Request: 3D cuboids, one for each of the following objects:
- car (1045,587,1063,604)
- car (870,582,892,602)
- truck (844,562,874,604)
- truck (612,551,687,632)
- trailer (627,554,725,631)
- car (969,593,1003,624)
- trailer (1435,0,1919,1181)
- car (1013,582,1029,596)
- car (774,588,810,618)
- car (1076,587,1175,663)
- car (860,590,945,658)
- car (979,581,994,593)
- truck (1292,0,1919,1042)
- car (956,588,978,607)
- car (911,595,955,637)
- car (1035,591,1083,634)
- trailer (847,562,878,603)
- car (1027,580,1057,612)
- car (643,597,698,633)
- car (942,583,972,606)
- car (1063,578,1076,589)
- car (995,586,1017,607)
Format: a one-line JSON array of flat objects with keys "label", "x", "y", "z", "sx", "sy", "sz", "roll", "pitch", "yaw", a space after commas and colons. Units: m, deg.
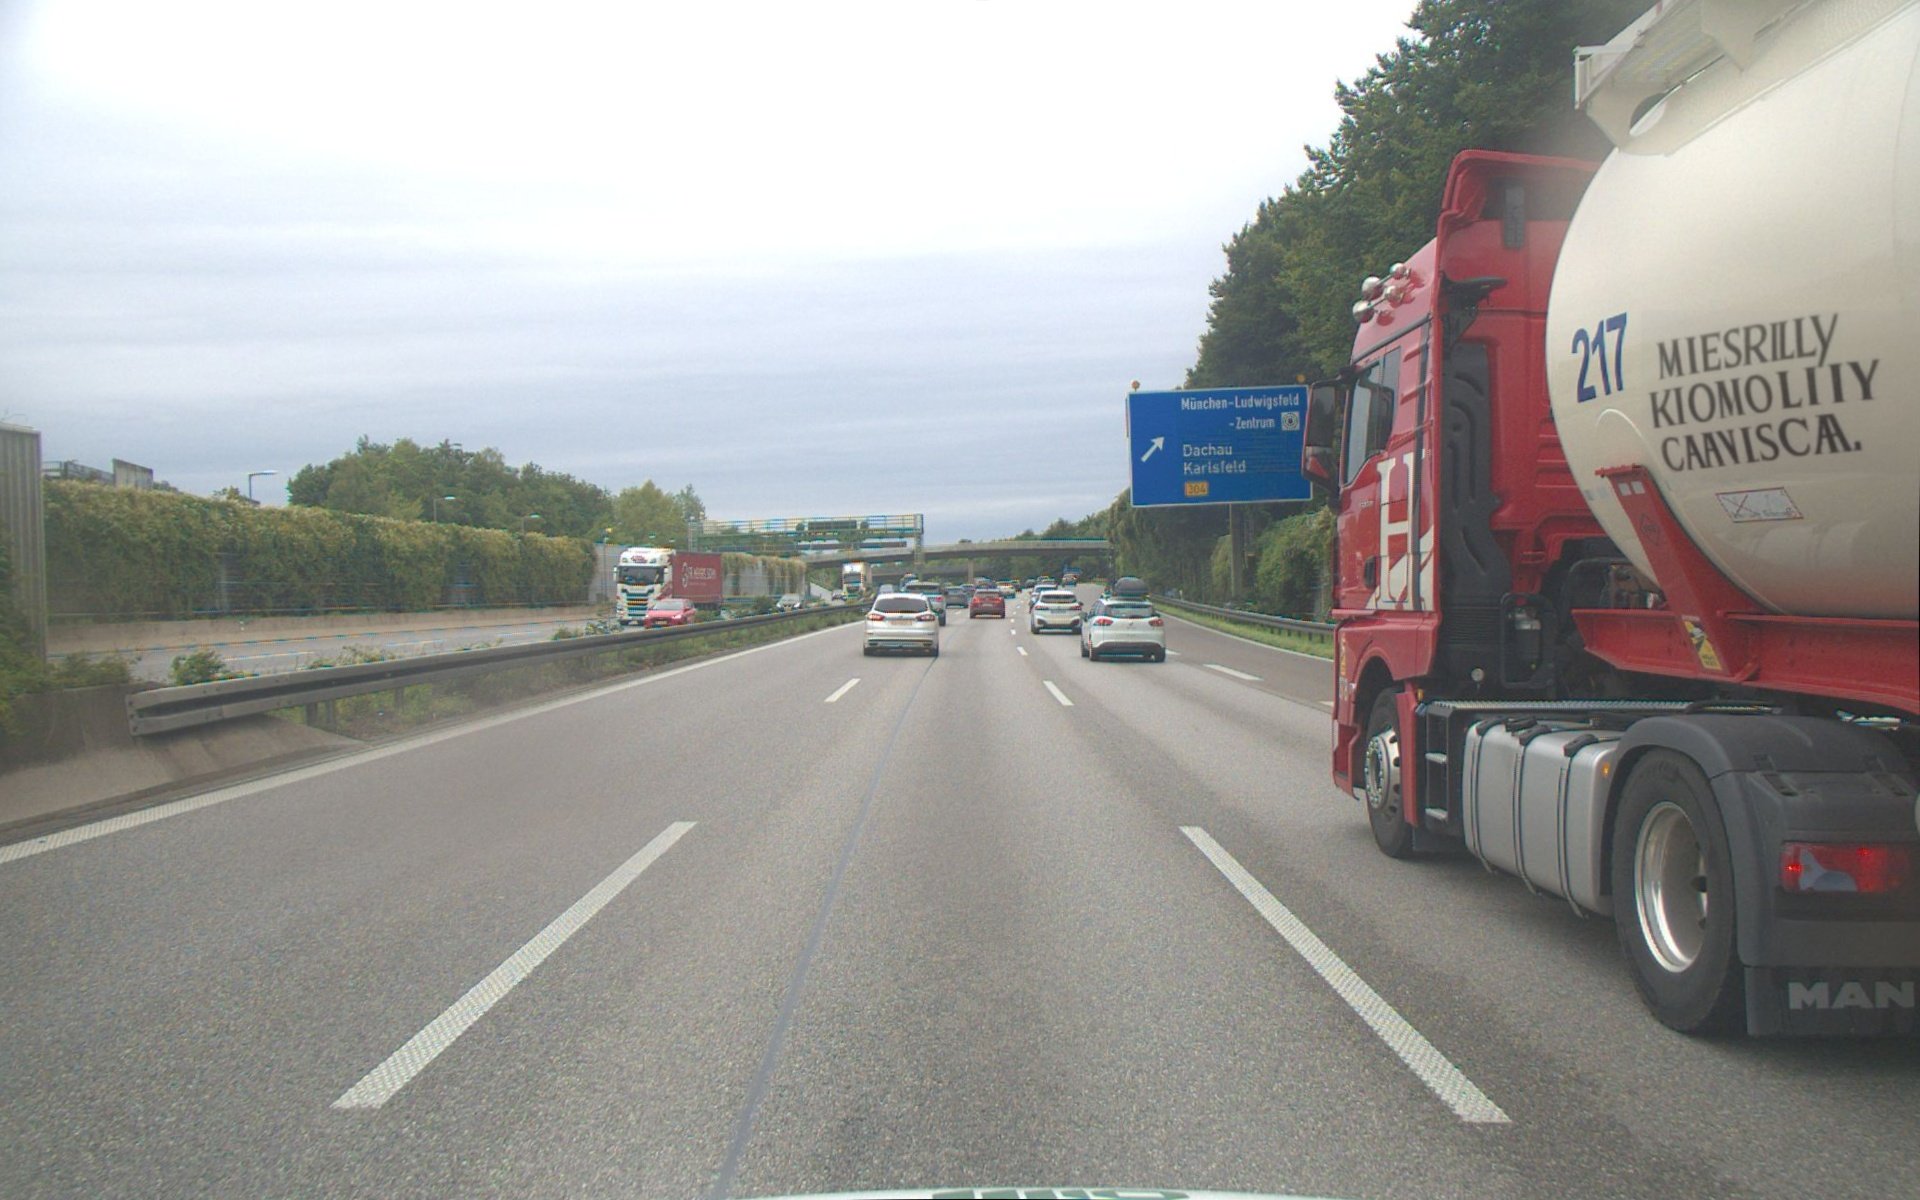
[{"label": "car", "x": 9.017, "y": -0.447, "z": 159.190, "sx": 1.653, "sy": 1.566, "sz": 3.873, "roll": 0, "pitch": 0, "yaw": 4}, {"label": "car", "x": -8.544, "y": -0.872, "z": 178.494, "sx": 1.952, "sy": 2.049, "sz": 4.910, "roll": 0, "pitch": 0, "yaw": 2}, {"label": "truck", "x": -11.080, "y": -1.884, "z": 182.042, "sx": 2.593, "sy": 4.551, "sz": 5.285, "roll": -1, "pitch": 0, "yaw": 3}, {"label": "truck", "x": -16.713, "y": -0.465, "z": 89.329, "sx": 2.612, "sy": 4.200, "sz": 5.918, "roll": -1, "pitch": 0, "yaw": 3}, {"label": "trailer", "x": -16.376, "y": -0.445, "z": 96.494, "sx": 2.687, "sy": 4.200, "sz": 13.694, "roll": 0, "pitch": 0, "yaw": 3}, {"label": "car", "x": 1.339, "y": 0.392, "z": 83.855, "sx": 1.654, "sy": 1.533, "sz": 3.872, "roll": 0, "pitch": 0, "yaw": 2}, {"label": "trailer", "x": 3.886, "y": -0.471, "z": 1.970, "sx": 2.614, "sy": 4.008, "sz": 13.126, "roll": 0, "pitch": 0, "yaw": -1}, {"label": "car", "x": 6.889, "y": -1.193, "z": 185.944, "sx": 1.653, "sy": 1.566, "sz": 3.873, "roll": 0, "pitch": 0, "yaw": 4}, {"label": "car", "x": -11.310, "y": 0.183, "z": 111.401, "sx": 1.953, "sy": 1.768, "sz": 4.001, "roll": 2, "pitch": 3, "yaw": 0}, {"label": "car", "x": 3.794, "y": 0.551, "z": 38.638, "sx": 1.779, "sy": 1.654, "sz": 5.029, "roll": 0, "pitch": 0, "yaw": 0}, {"label": "car", "x": -1.348, "y": 0.566, "z": 40.539, "sx": 1.853, "sy": 1.530, "sz": 5.030, "roll": 1, "pitch": 0, "yaw": 0}, {"label": "car", "x": 3.027, "y": -1.512, "z": 190.794, "sx": 1.653, "sy": 1.447, "sz": 3.872, "roll": 0, "pitch": 0, "yaw": 2}, {"label": "truck", "x": 3.826, "y": -0.505, "z": 8.965, "sx": 2.640, "sy": 3.981, "sz": 6.555, "roll": 0, "pitch": 0, "yaw": -1}, {"label": "car", "x": 0.650, "y": -0.240, "z": 149.534, "sx": 1.653, "sy": 1.668, "sz": 3.873, "roll": -1, "pitch": 0, "yaw": 4}, {"label": "car", "x": -1.163, "y": 0.644, "z": 69.176, "sx": 1.655, "sy": 1.532, "sz": 3.870, "roll": 4, "pitch": 1, "yaw": -2}, {"label": "car", "x": 3.566, "y": 0.453, "z": 60.094, "sx": 1.654, "sy": 1.533, "sz": 3.872, "roll": 0, "pitch": 0, "yaw": 2}, {"label": "trailer", "x": -10.912, "y": -1.961, "z": 185.781, "sx": 2.612, "sy": 4.522, "sz": 8.576, "roll": -1, "pitch": 0, "yaw": 3}, {"label": "car", "x": 4.827, "y": -0.218, "z": 96.754, "sx": 1.653, "sy": 1.811, "sz": 3.873, "roll": -1, "pitch": 0, "yaw": 4}, {"label": "car", "x": -13.123, "y": 0.680, "z": 75.205, "sx": 1.735, "sy": 1.597, "sz": 4.717, "roll": 0, "pitch": 0, "yaw": 0}, {"label": "car", "x": -0.181, "y": -0.391, "z": 111.921, "sx": 1.653, "sy": 1.533, "sz": 3.873, "roll": -1, "pitch": 0, "yaw": 4}, {"label": "car", "x": 14.405, "y": -2.213, "z": 217.896, "sx": 1.653, "sy": 1.447, "sz": 3.872, "roll": 0, "pitch": 0, "yaw": 2}, {"label": "car", "x": 4.236, "y": -0.305, "z": 151.990, "sx": 1.752, "sy": 1.811, "sz": 3.873, "roll": -1, "pitch": 0, "yaw": 4}]
